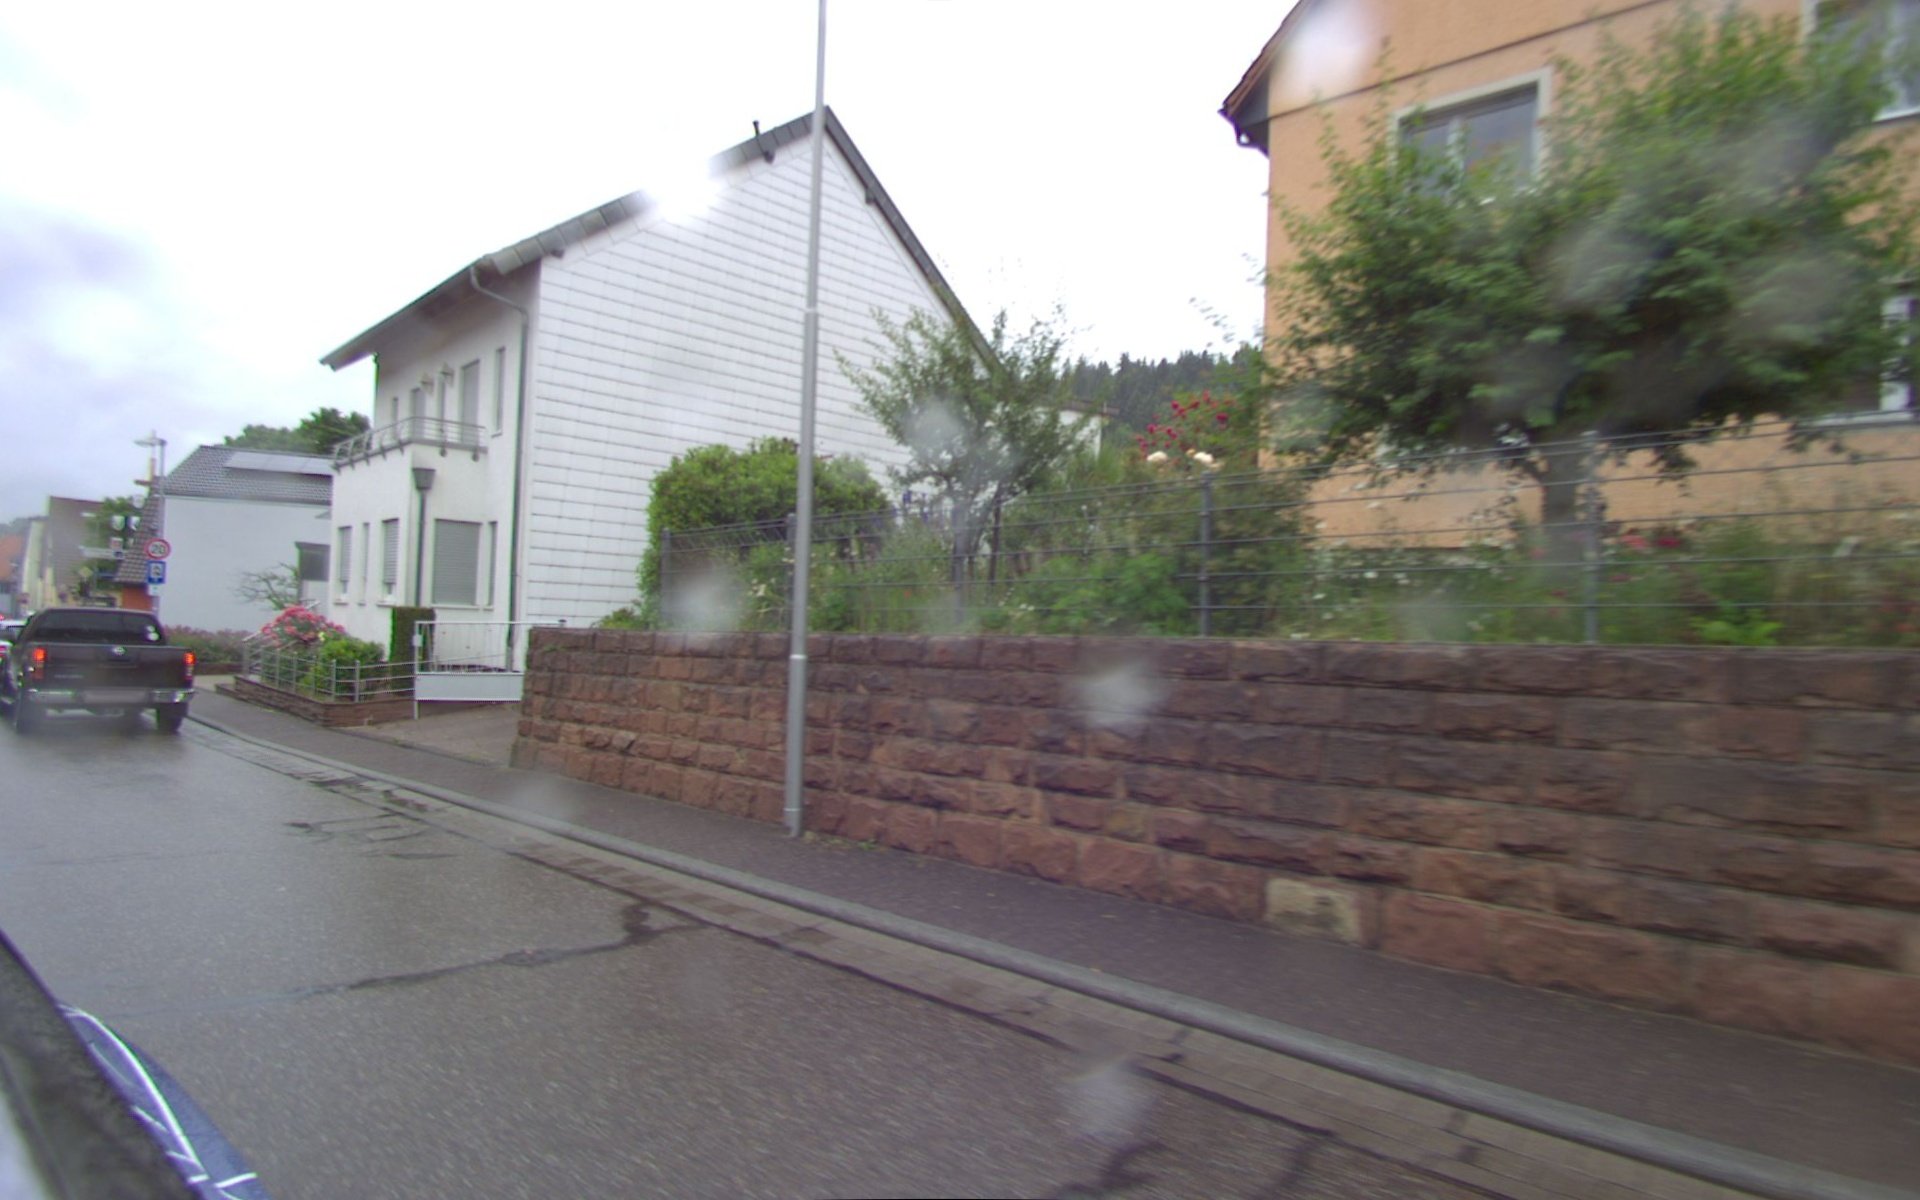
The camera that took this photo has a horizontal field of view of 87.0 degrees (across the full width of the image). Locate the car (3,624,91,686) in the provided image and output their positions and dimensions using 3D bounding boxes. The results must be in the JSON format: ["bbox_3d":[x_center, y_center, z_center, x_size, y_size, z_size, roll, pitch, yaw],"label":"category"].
[{"bbox_3d":[-27.649,1.636,30.676,1.789,1.697,4.189,4,-3,-42],"label":"car"}]

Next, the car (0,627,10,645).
[{"bbox_3d":[-84.107,3.126,88.234,1.834,1.517,4.165,4,-3,-43],"label":"car"}]

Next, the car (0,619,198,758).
[{"bbox_3d":[-13.059,1.178,15.010,5.197,1.686,1.814,0,-3,43],"label":"car"}]

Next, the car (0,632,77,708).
[{"bbox_3d":[-20.060,1.459,21.431,3.715,1.493,1.562,-2,-5,42],"label":"car"}]
